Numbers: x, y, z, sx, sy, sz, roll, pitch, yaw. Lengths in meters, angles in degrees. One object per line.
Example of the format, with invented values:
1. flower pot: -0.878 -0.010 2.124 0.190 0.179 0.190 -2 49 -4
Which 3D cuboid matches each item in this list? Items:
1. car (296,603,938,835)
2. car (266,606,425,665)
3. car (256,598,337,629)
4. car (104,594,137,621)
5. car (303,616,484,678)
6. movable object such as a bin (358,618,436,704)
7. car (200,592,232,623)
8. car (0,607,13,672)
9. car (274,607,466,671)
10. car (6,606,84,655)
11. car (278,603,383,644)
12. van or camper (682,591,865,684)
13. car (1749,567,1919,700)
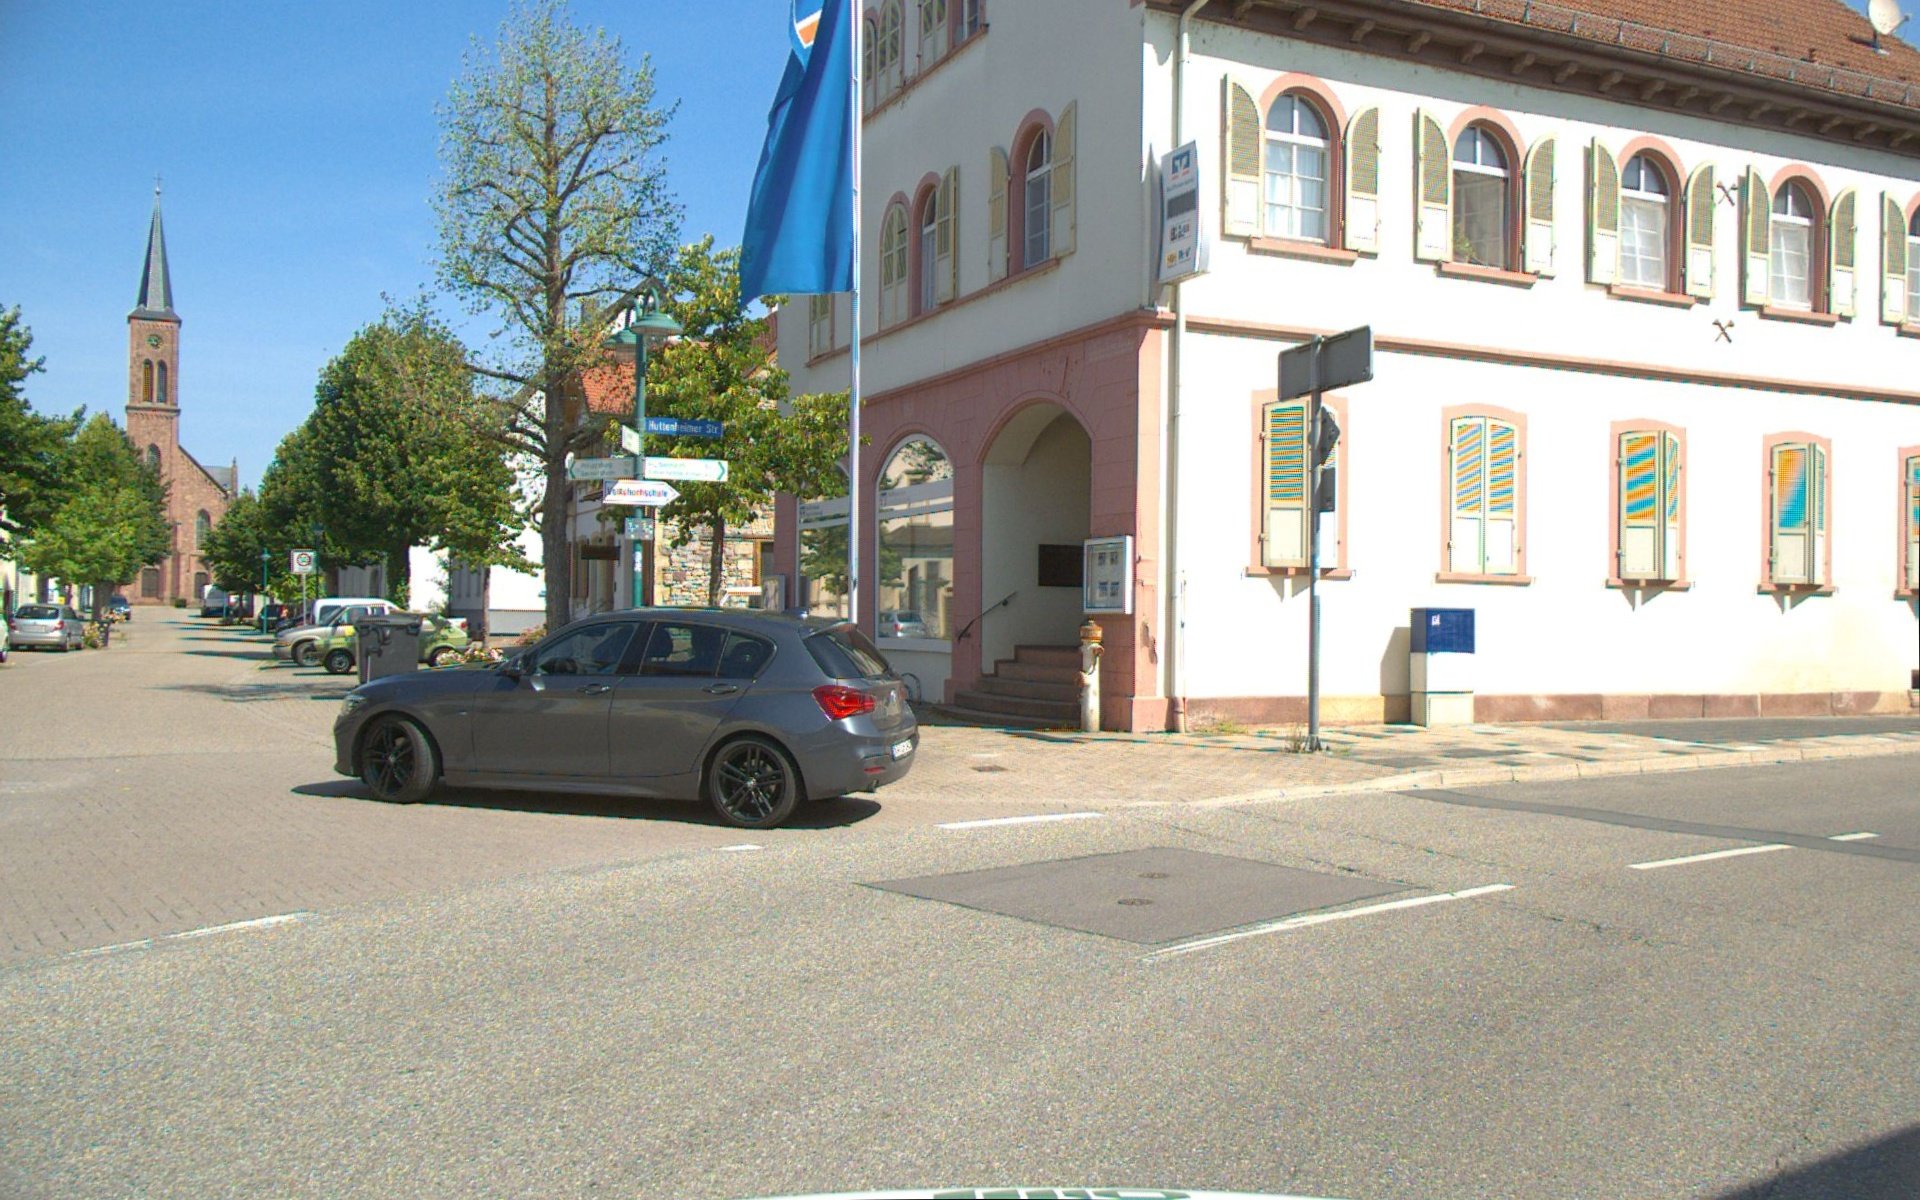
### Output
1. car: -2.387 0.782 11.960 4.164 1.400 1.743 1 -1 11
2. car: -17.469 0.991 47.019 4.098 1.596 1.984 1 0 -26
3. car: -35.982 0.729 89.652 3.940 1.646 1.982 0 0 -27
4. car: -58.819 0.545 115.823 1.971 1.847 3.962 0 0 -28
5. car: -13.377 1.085 39.073 3.874 1.368 1.984 1 0 -26
6. movable object such as a bin: -9.132 0.974 26.823 1.171 1.361 0.784 0 -1 -22
7. car: -59.850 0.641 132.984 2.216 2.319 4.467 2 -2 -25
8. car: -25.241 0.985 41.819 1.969 1.601 3.966 0 0 -26
9. car: -16.005 1.036 44.881 4.743 1.652 1.984 1 0 -26
10. car: -28.958 0.952 52.281 1.974 1.490 3.957 1 -1 -31
11. car: -26.013 0.957 68.366 3.937 1.668 1.984 0 0 -26
12. van or camper: -4.316 0.841 38.051 3.923 2.049 1.991 0 0 -17
13. car: 16.753 0.565 29.086 2.087 2.235 5.156 0 0 -23
